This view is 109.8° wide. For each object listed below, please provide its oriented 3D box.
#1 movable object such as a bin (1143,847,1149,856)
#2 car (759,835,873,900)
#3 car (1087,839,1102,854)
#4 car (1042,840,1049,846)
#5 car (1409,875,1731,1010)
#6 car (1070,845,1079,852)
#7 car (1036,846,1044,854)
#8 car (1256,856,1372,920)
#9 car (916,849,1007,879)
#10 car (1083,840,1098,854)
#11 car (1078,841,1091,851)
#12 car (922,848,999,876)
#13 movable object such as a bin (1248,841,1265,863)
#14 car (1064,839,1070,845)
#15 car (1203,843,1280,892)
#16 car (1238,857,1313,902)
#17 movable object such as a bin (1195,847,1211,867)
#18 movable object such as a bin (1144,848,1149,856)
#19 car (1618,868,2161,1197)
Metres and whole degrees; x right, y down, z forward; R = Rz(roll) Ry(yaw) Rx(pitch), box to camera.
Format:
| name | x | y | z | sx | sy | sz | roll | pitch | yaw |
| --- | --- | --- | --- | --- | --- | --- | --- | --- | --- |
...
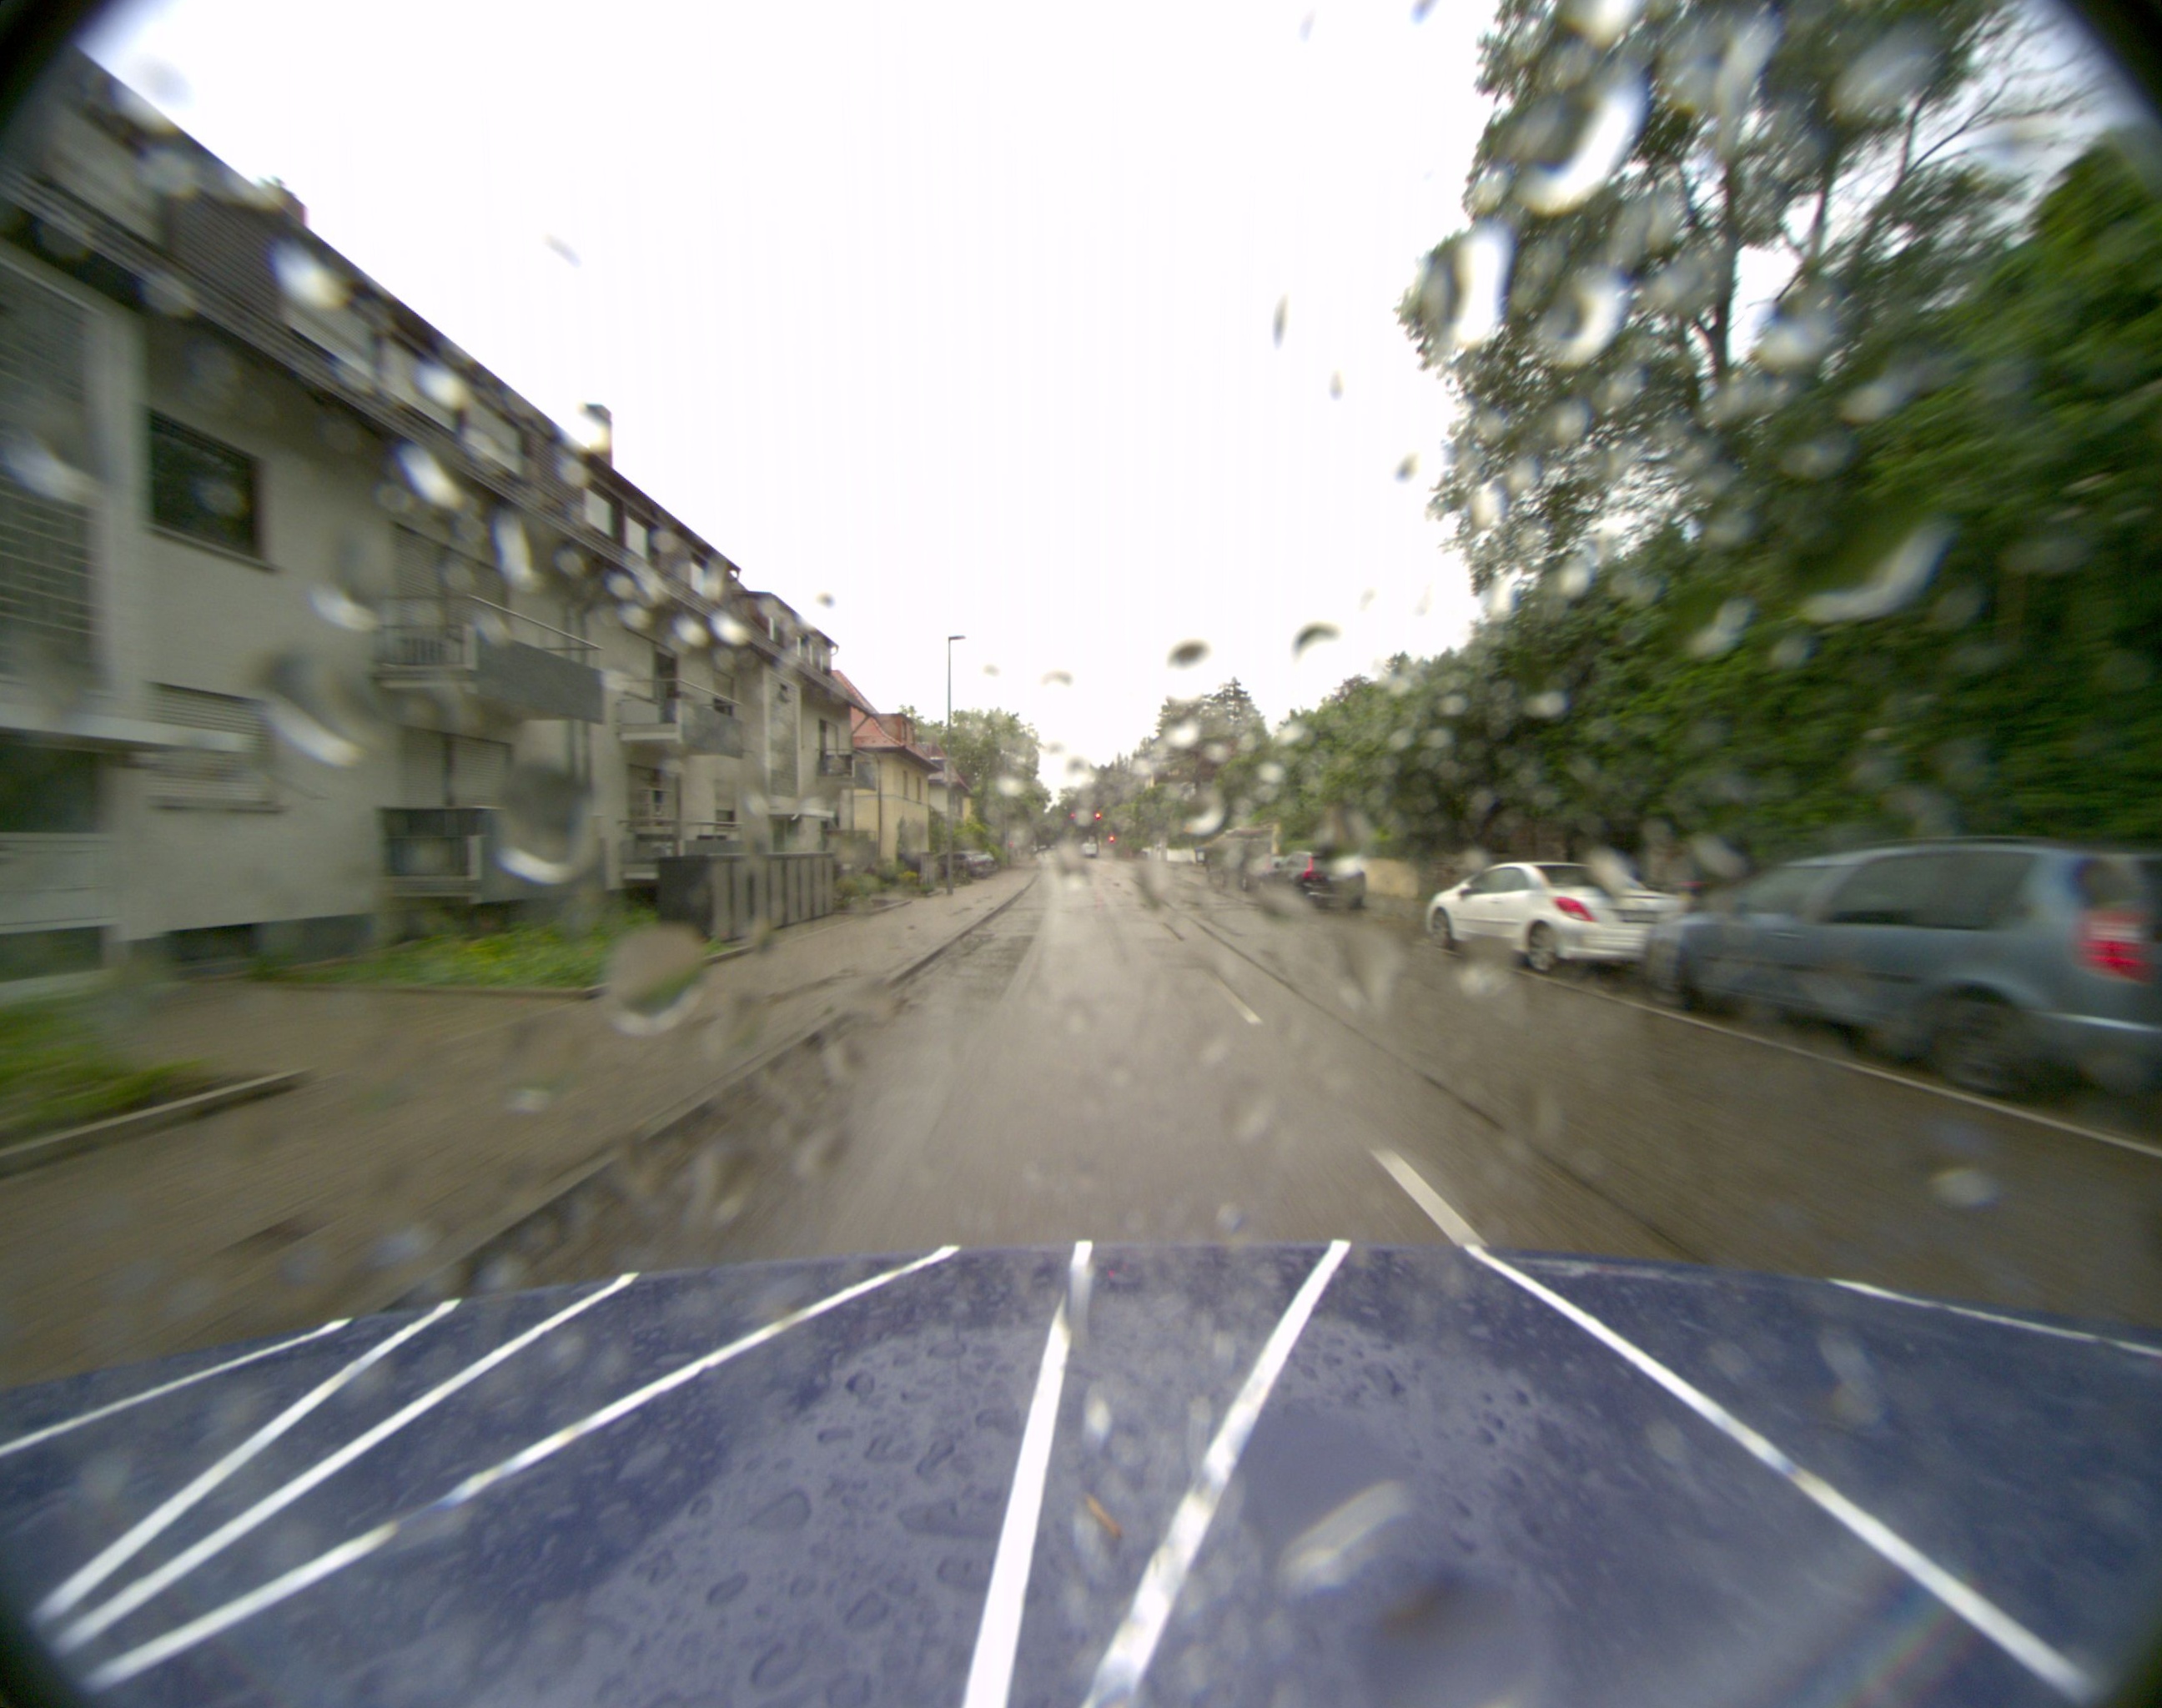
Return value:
| name | x | y | z | sx | sy | sz | roll | pitch | yaw |
| --- | --- | --- | --- | --- | --- | --- | --- | --- | --- |
| movable object such as a bin | 7.823 | -0.315 | 91.376 | 0.683 | 1.034 | 0.657 | -2 | 1 | -5 |
| car | -12.084 | 0.647 | 34.852 | 4.471 | 2.742 | 2.006 | -2 | -2 | -1 |
| car | 2.322 | -1.275 | 132.394 | 2.085 | 2.464 | 4.851 | 2 | 1 | -4 |
| car | -11.936 | -3.845 | 258.198 | 1.925 | 1.889 | 4.000 | -2 | 1 | 3 |
| car | 6.331 | 1.050 | 10.502 | 1.721 | 1.357 | 4.082 | 1 | 0 | -1 |
| car | -1.518 | -1.340 | 181.876 | 1.925 | 1.747 | 3.998 | -2 | 1 | -3 |
| car | -10.296 | -1.122 | 188.875 | 1.925 | 1.889 | 3.998 | -2 | 1 | -3 |
| car | 6.497 | 0.875 | 21.761 | 1.913 | 1.472 | 4.755 | 2 | 1 | 1 |
| car | -6.095 | 0.503 | 38.711 | 4.370 | 1.357 | 1.923 | -1 | 2 | 33 |
| car | 1.678 | -1.377 | 138.598 | 2.163 | 2.454 | 4.913 | 2 | 1 | -4 |
| car | 0.608 | -1.527 | 148.678 | 2.163 | 1.944 | 4.913 | 2 | 1 | -4 |
| car | -6.681 | 0.448 | 41.879 | 3.989 | 1.448 | 1.775 | -1 | 1 | 33 |
| movable object such as a bin | 11.489 | -0.134 | 49.747 | 0.822 | 1.374 | 1.134 | -2 | 1 | 2 |
| car | -4.649 | -4.022 | 251.414 | 1.925 | 1.889 | 4.000 | -2 | 1 | 2 |
| car | 6.682 | 0.476 | 32.225 | 2.164 | 1.908 | 5.322 | 0 | 1 | 0 |
| car | 6.776 | 0.842 | 26.904 | 1.568 | 1.357 | 3.906 | 1 | 1 | -1 |
| movable object such as a bin | 9.496 | 0.242 | 59.101 | 0.935 | 1.437 | 0.861 | -4 | 3 | -3 |
| movable object such as a bin | 7.815 | -0.254 | 90.552 | 0.544 | 0.935 | 0.416 | -2 | 2 | -5 |
| car | 6.430 | 0.968 | 5.873 | 1.746 | 1.552 | 4.109 | 1 | 1 | 3 |
